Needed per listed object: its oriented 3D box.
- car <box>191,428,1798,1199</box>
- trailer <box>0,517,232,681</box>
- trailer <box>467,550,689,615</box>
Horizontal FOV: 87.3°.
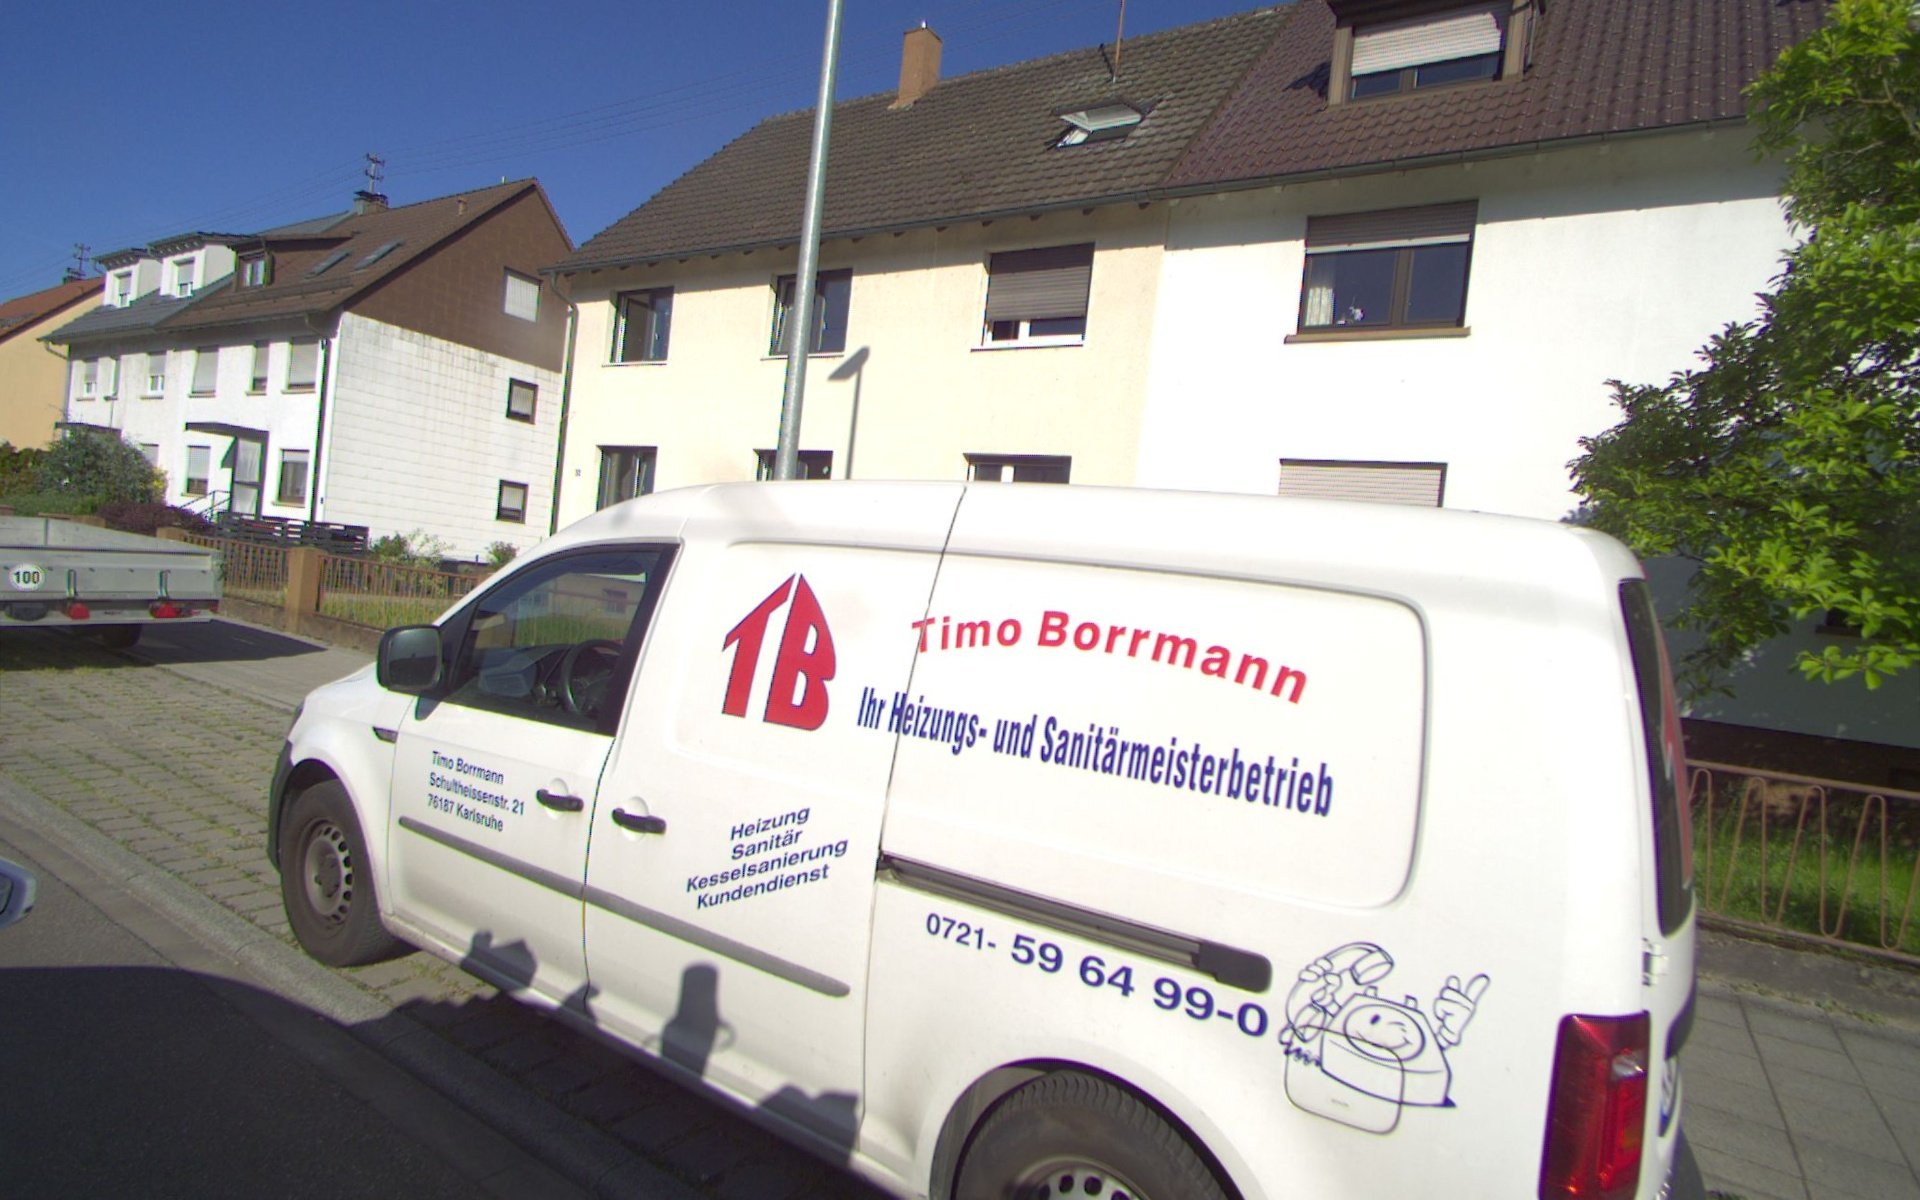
[{"bbox_3d":[-0.482,0.526,3.276,4.579,1.799,1.690,7,1,33],"label":"car"},{"bbox_3d":[-8.716,-0.145,8.899,4.299,1.108,2.204,6,2,32],"label":"trailer"},{"bbox_3d":[-8.918,-0.363,23.906,1.618,1.041,4.805,7,0,35],"label":"trailer"}]
